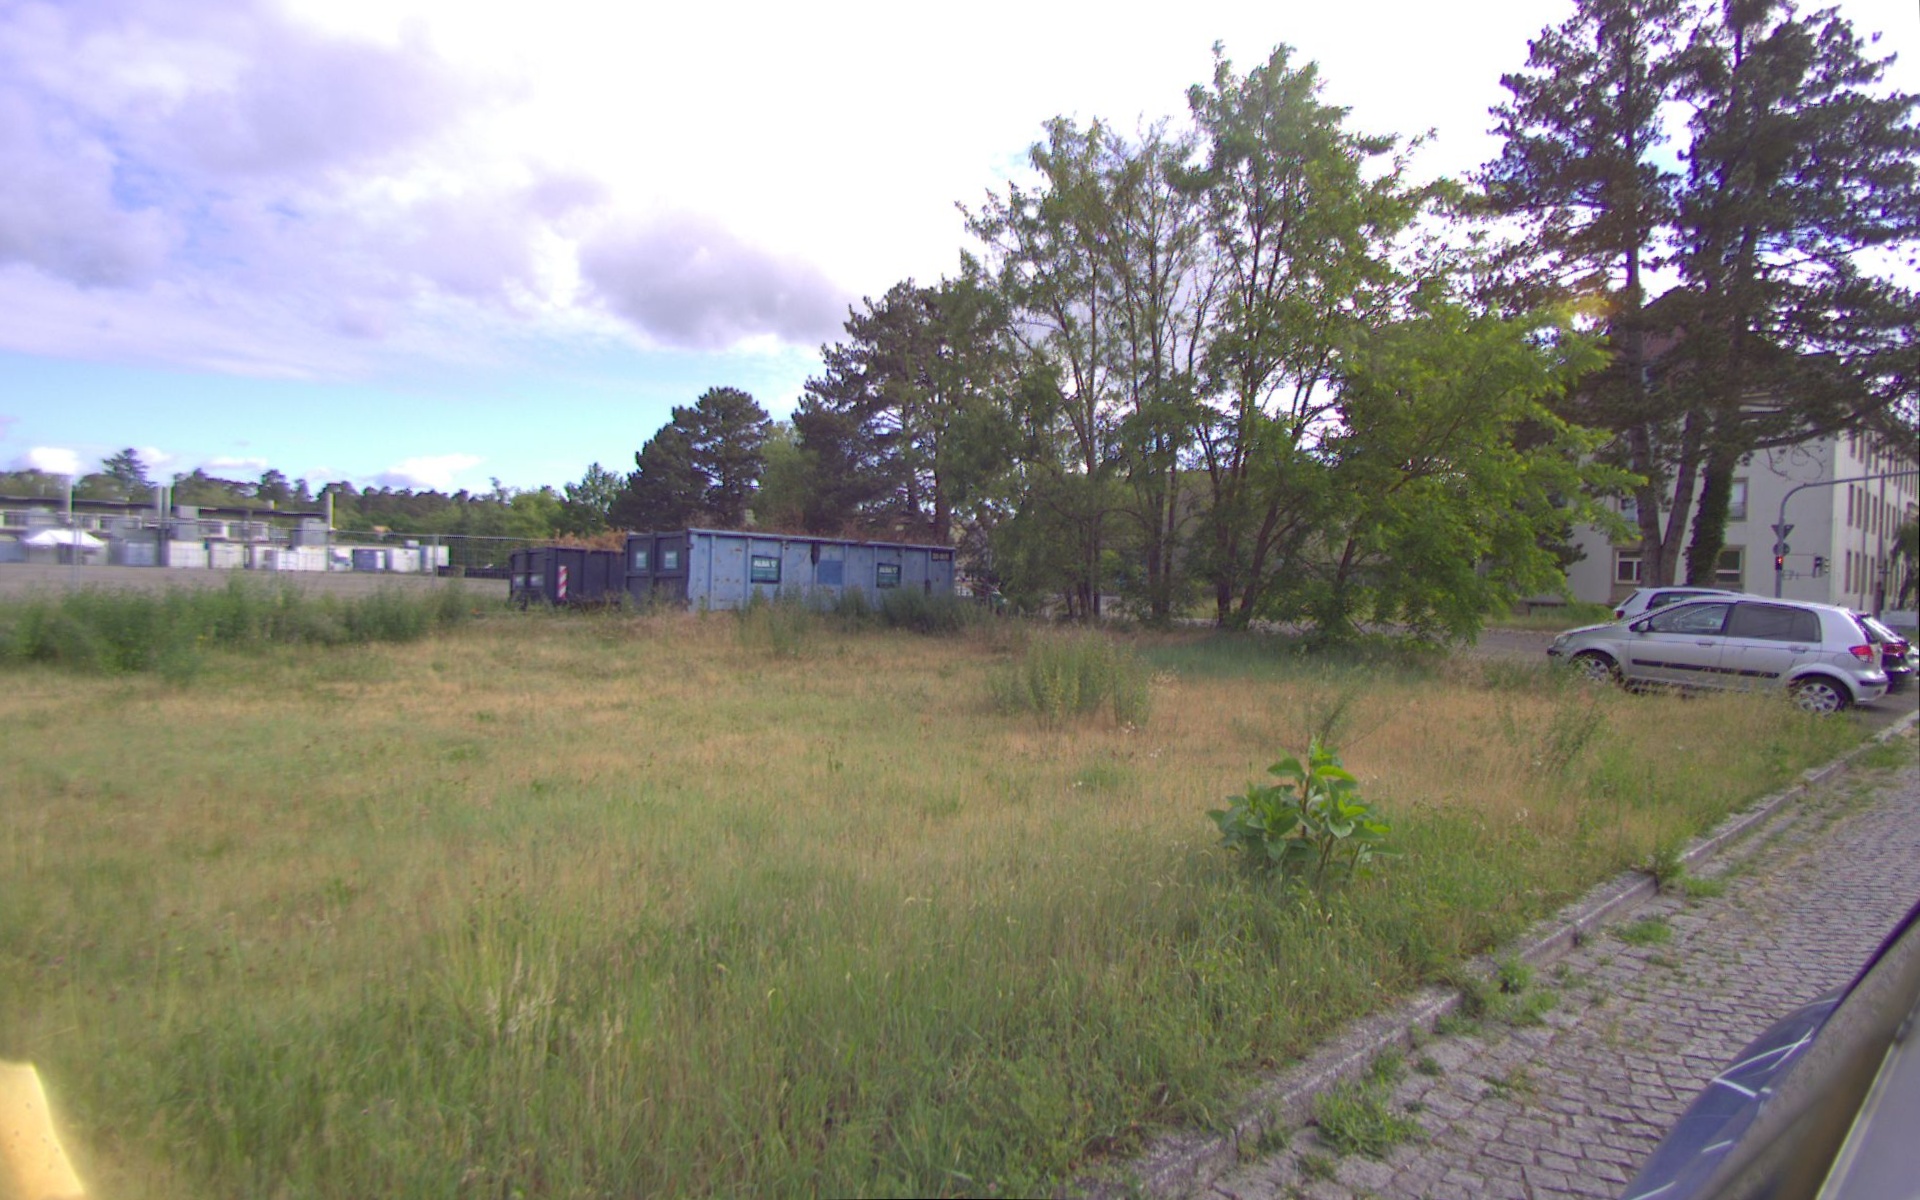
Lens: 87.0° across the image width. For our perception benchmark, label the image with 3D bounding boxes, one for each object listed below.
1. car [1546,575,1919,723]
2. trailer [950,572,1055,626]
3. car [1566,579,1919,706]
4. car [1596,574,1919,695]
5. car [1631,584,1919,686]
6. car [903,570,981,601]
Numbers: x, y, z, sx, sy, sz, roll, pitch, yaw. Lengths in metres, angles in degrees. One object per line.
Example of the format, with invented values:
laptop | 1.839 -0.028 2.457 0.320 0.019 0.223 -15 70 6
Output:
car | 10.460 0.558 13.886 1.713 1.497 3.778 2 4 -43
trailer | 0.944 -0.056 23.294 1.124 1.184 2.316 0 1 -42
car | 12.271 0.562 15.855 1.765 1.423 4.375 2 4 -42
car | 14.009 0.497 17.887 4.333 1.593 1.798 7 5 44
car | 15.907 0.581 19.562 1.797 1.442 4.557 0 5 -43
car | -0.994 -0.812 54.469 1.834 1.492 4.140 1 2 -45
